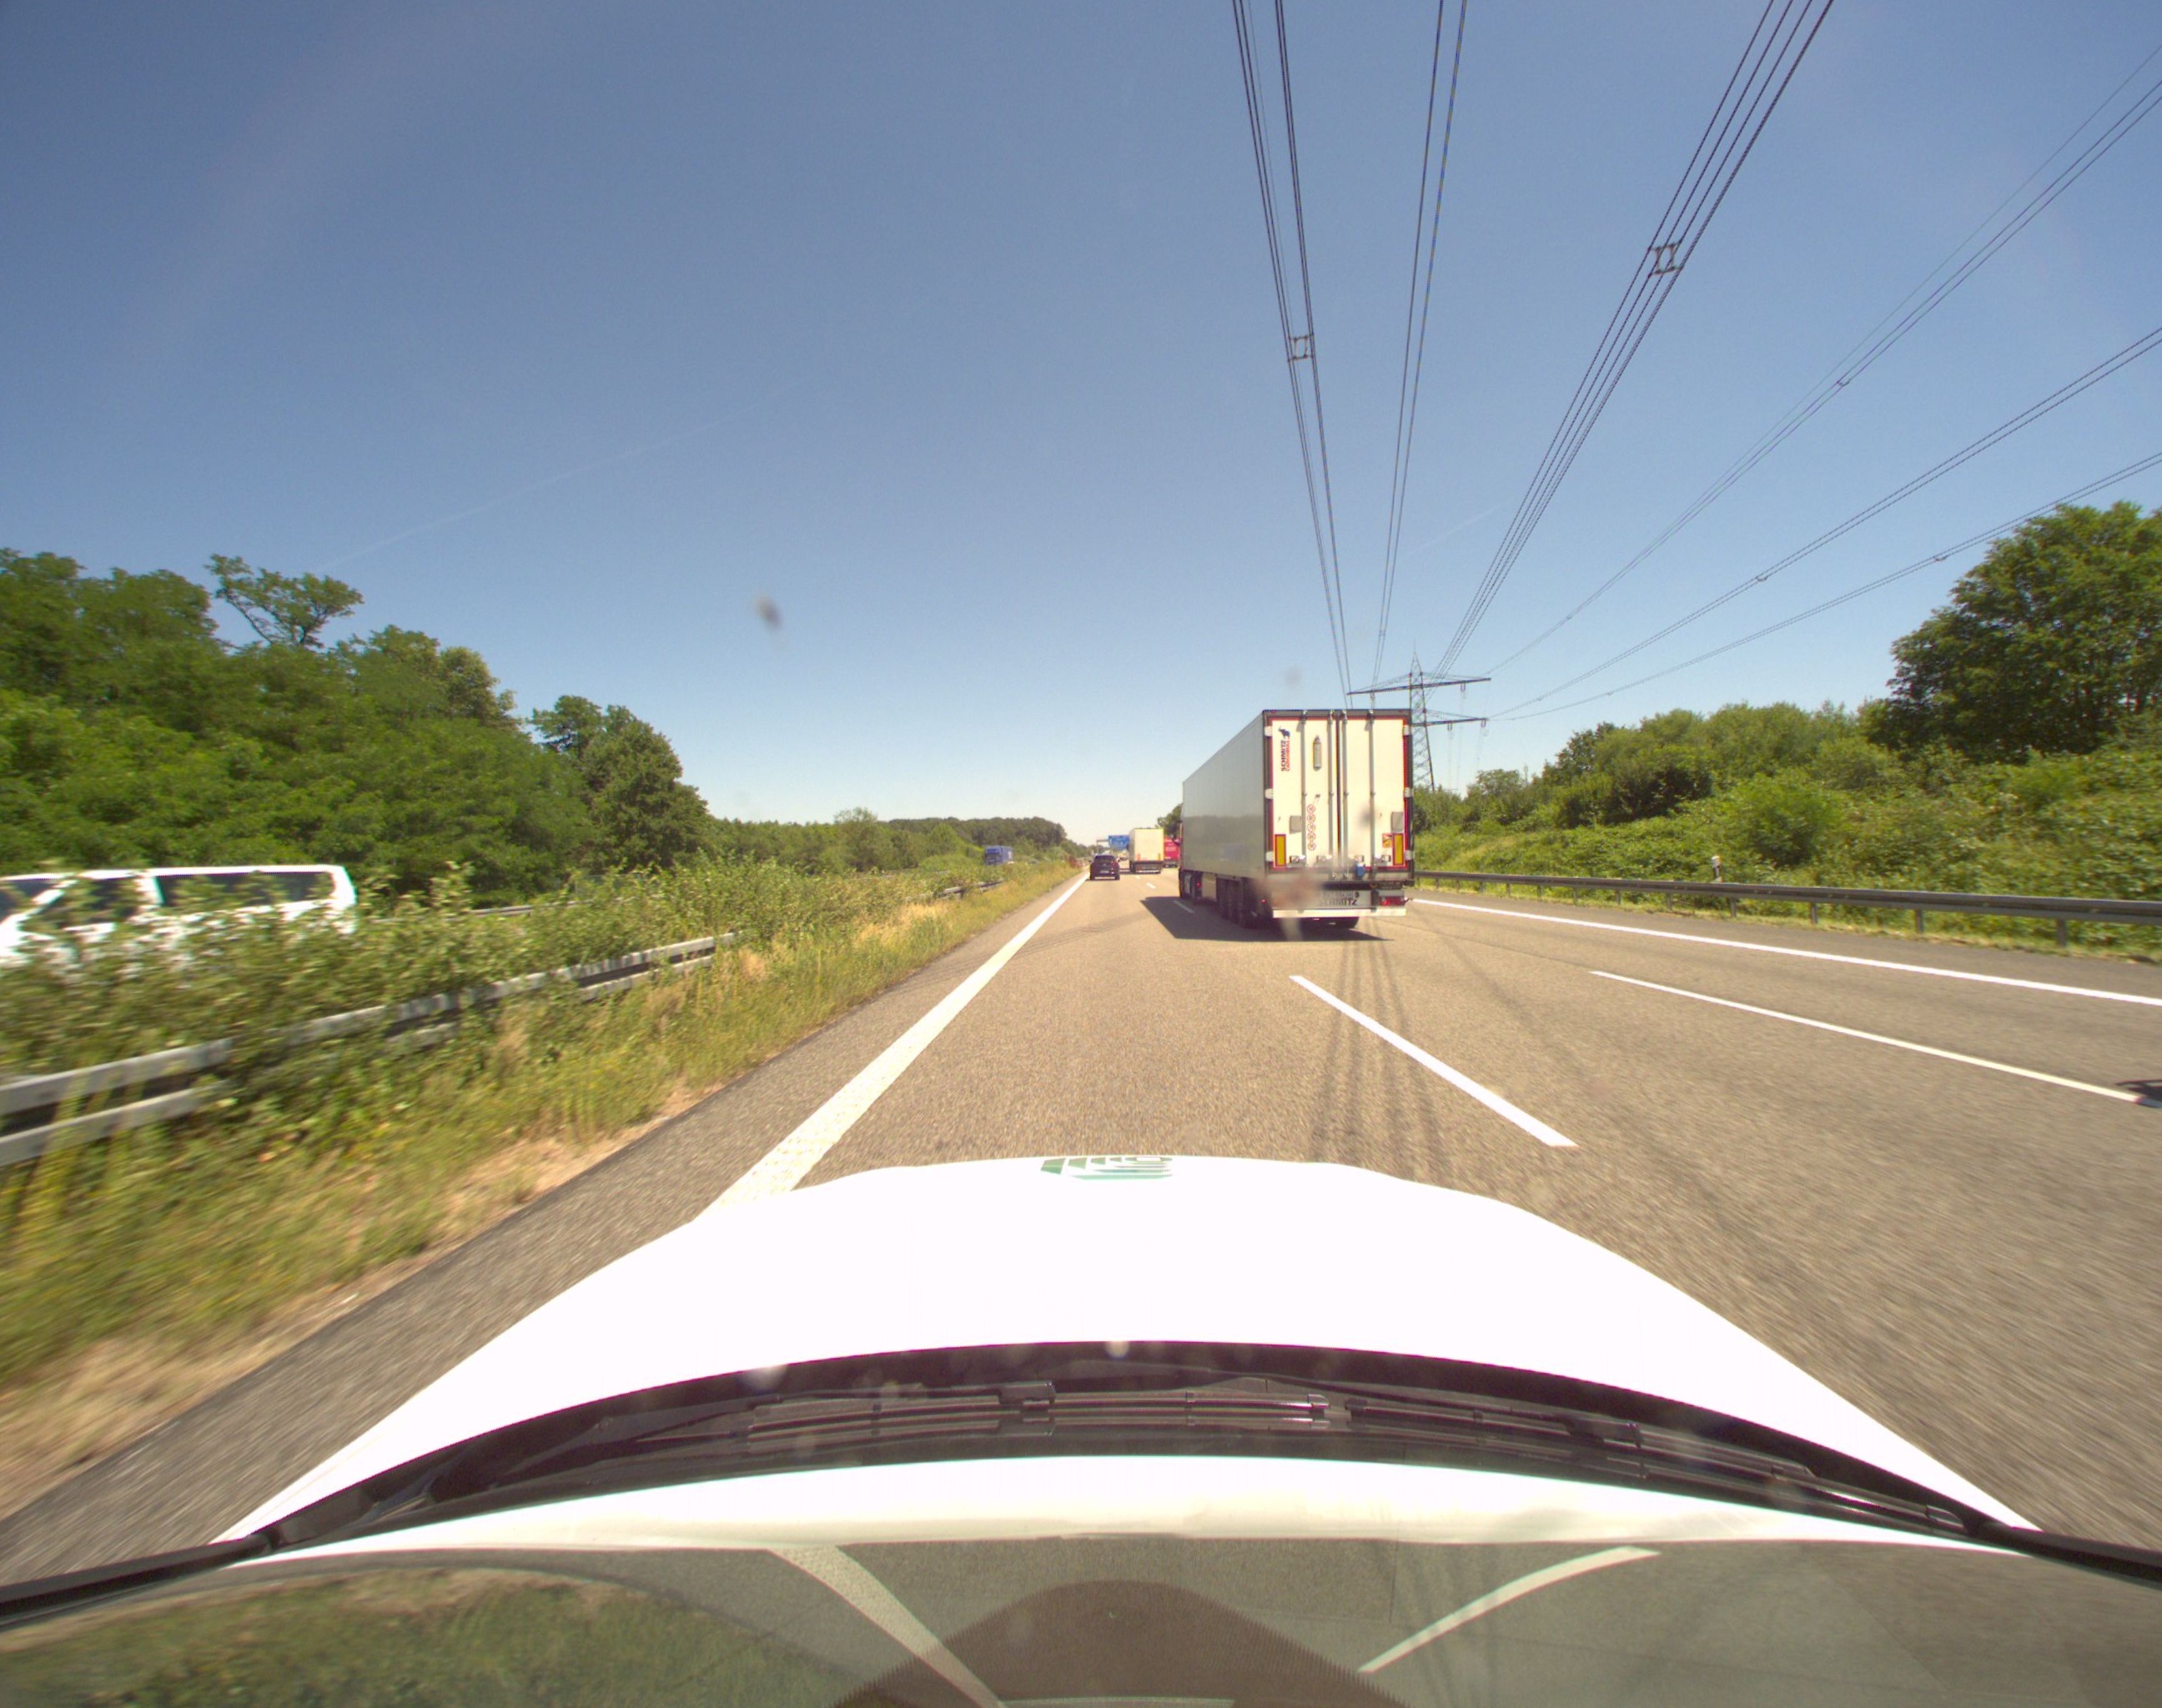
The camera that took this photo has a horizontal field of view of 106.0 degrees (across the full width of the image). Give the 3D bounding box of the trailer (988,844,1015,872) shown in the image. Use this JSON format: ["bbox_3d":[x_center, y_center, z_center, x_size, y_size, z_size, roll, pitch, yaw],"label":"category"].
[{"bbox_3d":[-12.807,0.697,131.834,2.463,4.131,13.470,-4,0,1],"label":"trailer"}]

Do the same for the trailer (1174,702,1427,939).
[{"bbox_3d":[4.647,-0.511,21.981,2.926,4.018,16.206,0,0,2],"label":"trailer"}]

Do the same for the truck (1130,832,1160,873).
[{"bbox_3d":[6.474,-0.096,83.018,2.789,4.007,6.024,-1,0,2],"label":"truck"}]

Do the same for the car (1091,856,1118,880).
[{"bbox_3d":[1.579,0.907,54.183,1.654,1.549,3.784,-2,0,2],"label":"car"}]

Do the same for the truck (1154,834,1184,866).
[{"bbox_3d":[11.915,-0.421,111.190,3.044,4.106,13.222,0,0,2],"label":"truck"}]

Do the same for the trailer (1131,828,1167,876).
[{"bbox_3d":[6.153,-0.160,75.790,2.784,4.035,12.574,-1,0,2],"label":"trailer"}]

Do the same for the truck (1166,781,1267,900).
[{"bbox_3d":[4.892,-0.441,30.582,2.930,3.986,6.103,0,-1,2],"label":"truck"}]

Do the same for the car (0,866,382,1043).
[{"bbox_3d":[-13.105,1.224,11.311,1.987,1.932,5.413,-4,0,0],"label":"car"}]

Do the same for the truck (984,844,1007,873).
[{"bbox_3d":[-13.028,0.645,124.123,2.457,4.133,5.686,-4,0,2],"label":"truck"}]

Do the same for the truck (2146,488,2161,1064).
[{"bbox_3d":[7.908,-0.528,0.345,1.975,3.772,10.047,-1,0,2],"label":"truck"}]
